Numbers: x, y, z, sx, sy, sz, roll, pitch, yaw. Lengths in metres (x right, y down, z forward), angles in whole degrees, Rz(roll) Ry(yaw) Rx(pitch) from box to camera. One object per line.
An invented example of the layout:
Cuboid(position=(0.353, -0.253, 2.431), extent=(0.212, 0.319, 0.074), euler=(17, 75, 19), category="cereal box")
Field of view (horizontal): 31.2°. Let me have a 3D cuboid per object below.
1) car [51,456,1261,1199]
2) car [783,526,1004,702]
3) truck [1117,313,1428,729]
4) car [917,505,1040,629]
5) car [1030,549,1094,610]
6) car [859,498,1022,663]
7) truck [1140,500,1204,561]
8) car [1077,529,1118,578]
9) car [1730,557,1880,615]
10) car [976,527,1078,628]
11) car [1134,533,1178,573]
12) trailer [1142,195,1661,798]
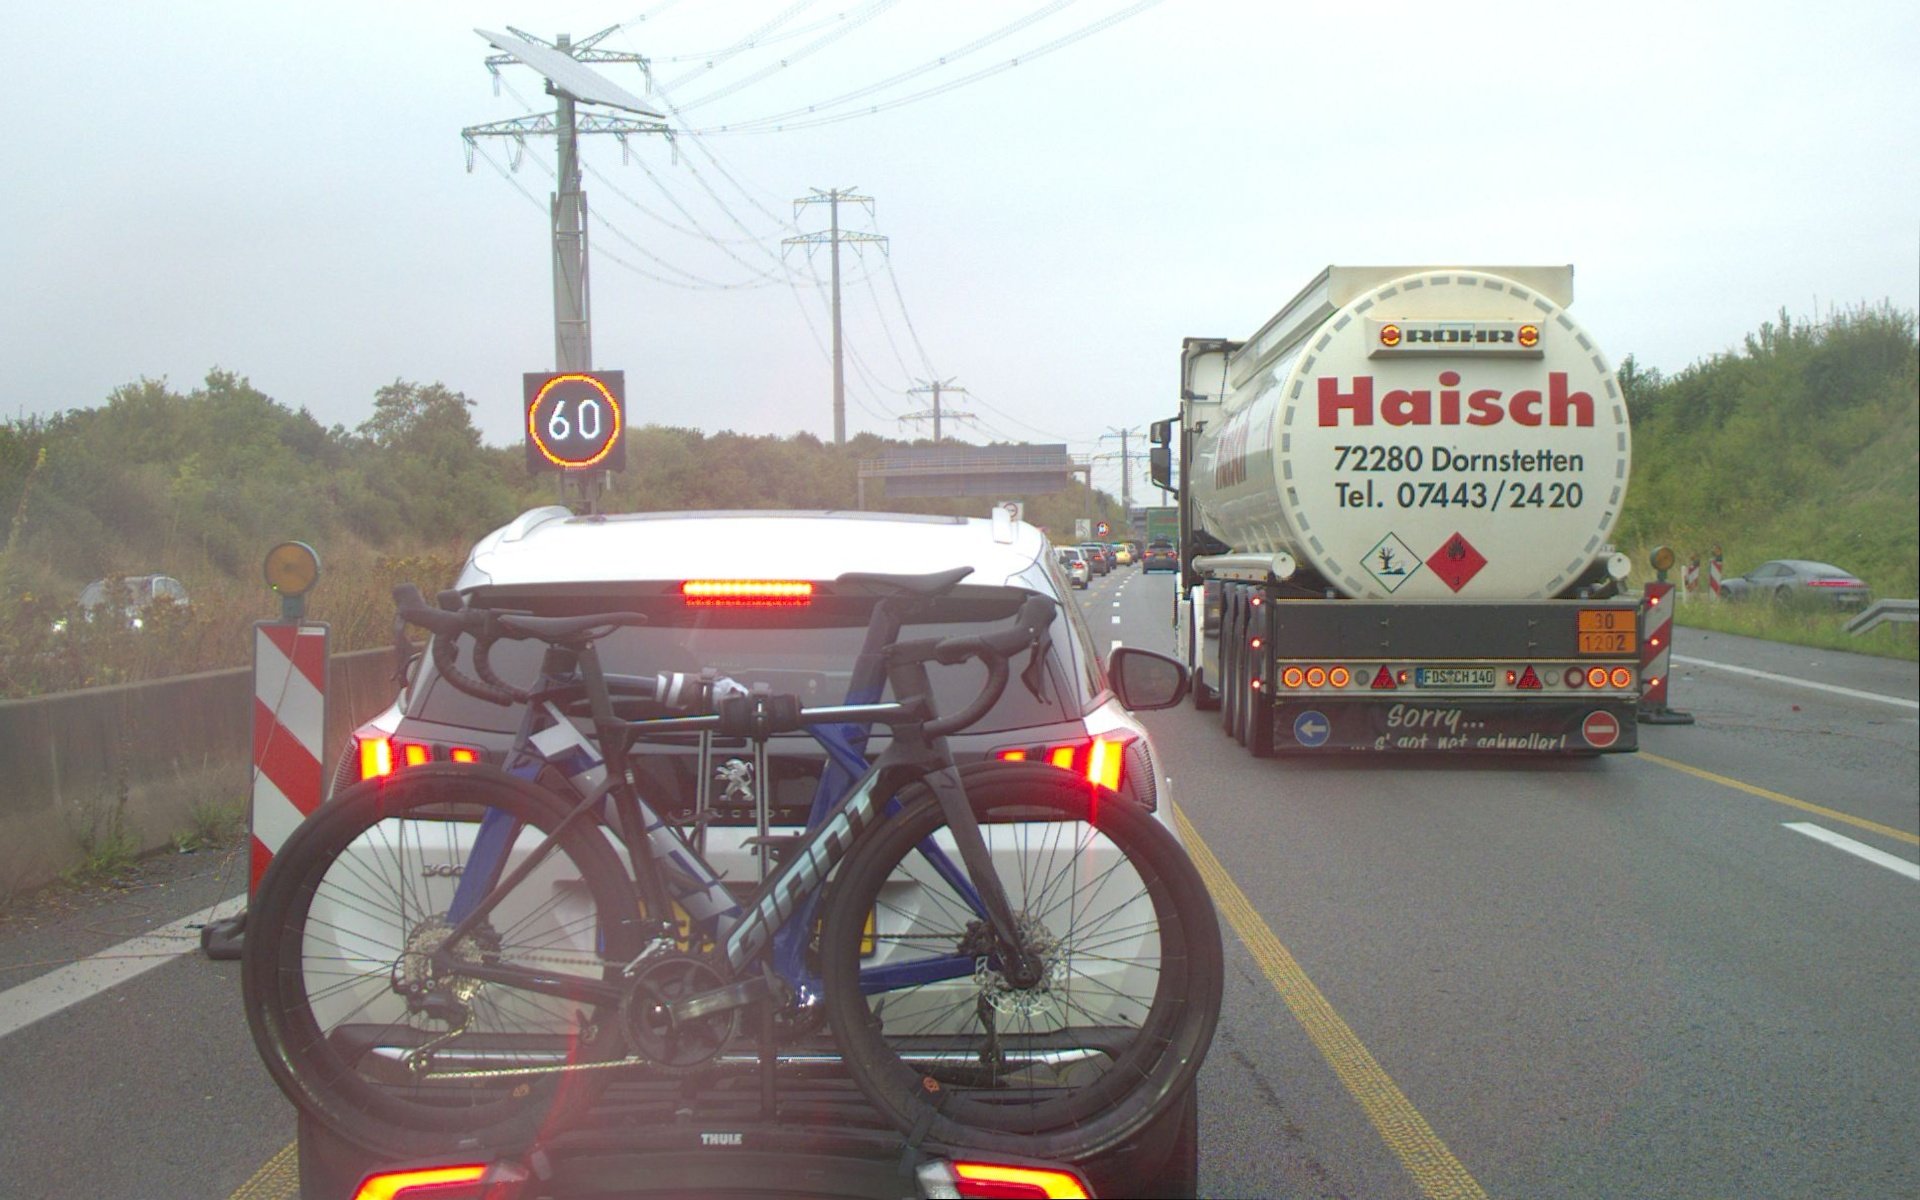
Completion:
Cuboid(position=(-0.423, 0.537, 7.775), extent=(1.928, 1.605, 4.595), euler=(0, 1, 2), category="car")
Cuboid(position=(-0.621, 0.088, 33.010), extent=(1.993, 1.578, 4.000), euler=(0, 1, -1), category="car")
Cuboid(position=(3.030, -0.753, 34.353), extent=(2.644, 3.877, 4.030), euler=(1, 0, -1), category="truck")
Cuboid(position=(0.281, -0.598, 58.705), extent=(1.993, 2.007, 4.000), euler=(-1, 1, -1), category="car")
Cuboid(position=(3.453, -0.683, 116.627), extent=(1.993, 2.007, 4.000), euler=(1, 0, -1), category="car")
Cuboid(position=(-0.261, -0.278, 44.928), extent=(1.993, 2.007, 4.000), euler=(-1, 1, -1), category="car")
Cuboid(position=(13.840, -4.488, 225.629), extent=(3.732, 3.809, 11.868), euler=(0, 0, 1), category="truck")
Cuboid(position=(5.779, -1.953, 144.015), extent=(1.654, 2.007, 4.000), euler=(0, 1, 3), category="car")
Cuboid(position=(17.973, -0.312, 73.276), extent=(1.482, 1.157, 3.908), euler=(-2, 1, -12), category="car")
Cuboid(position=(1.368, -0.470, 71.696), extent=(1.993, 2.007, 4.000), euler=(1, 0, -1), category="car")
Cuboid(position=(10.233, -2.446, 179.888), extent=(1.993, 2.007, 4.000), euler=(1, 0, -1), category="car")
Cuboid(position=(3.146, -0.706, 27.584), extent=(2.637, 3.880, 10.544), euler=(1, 0, -1), category="trailer")
